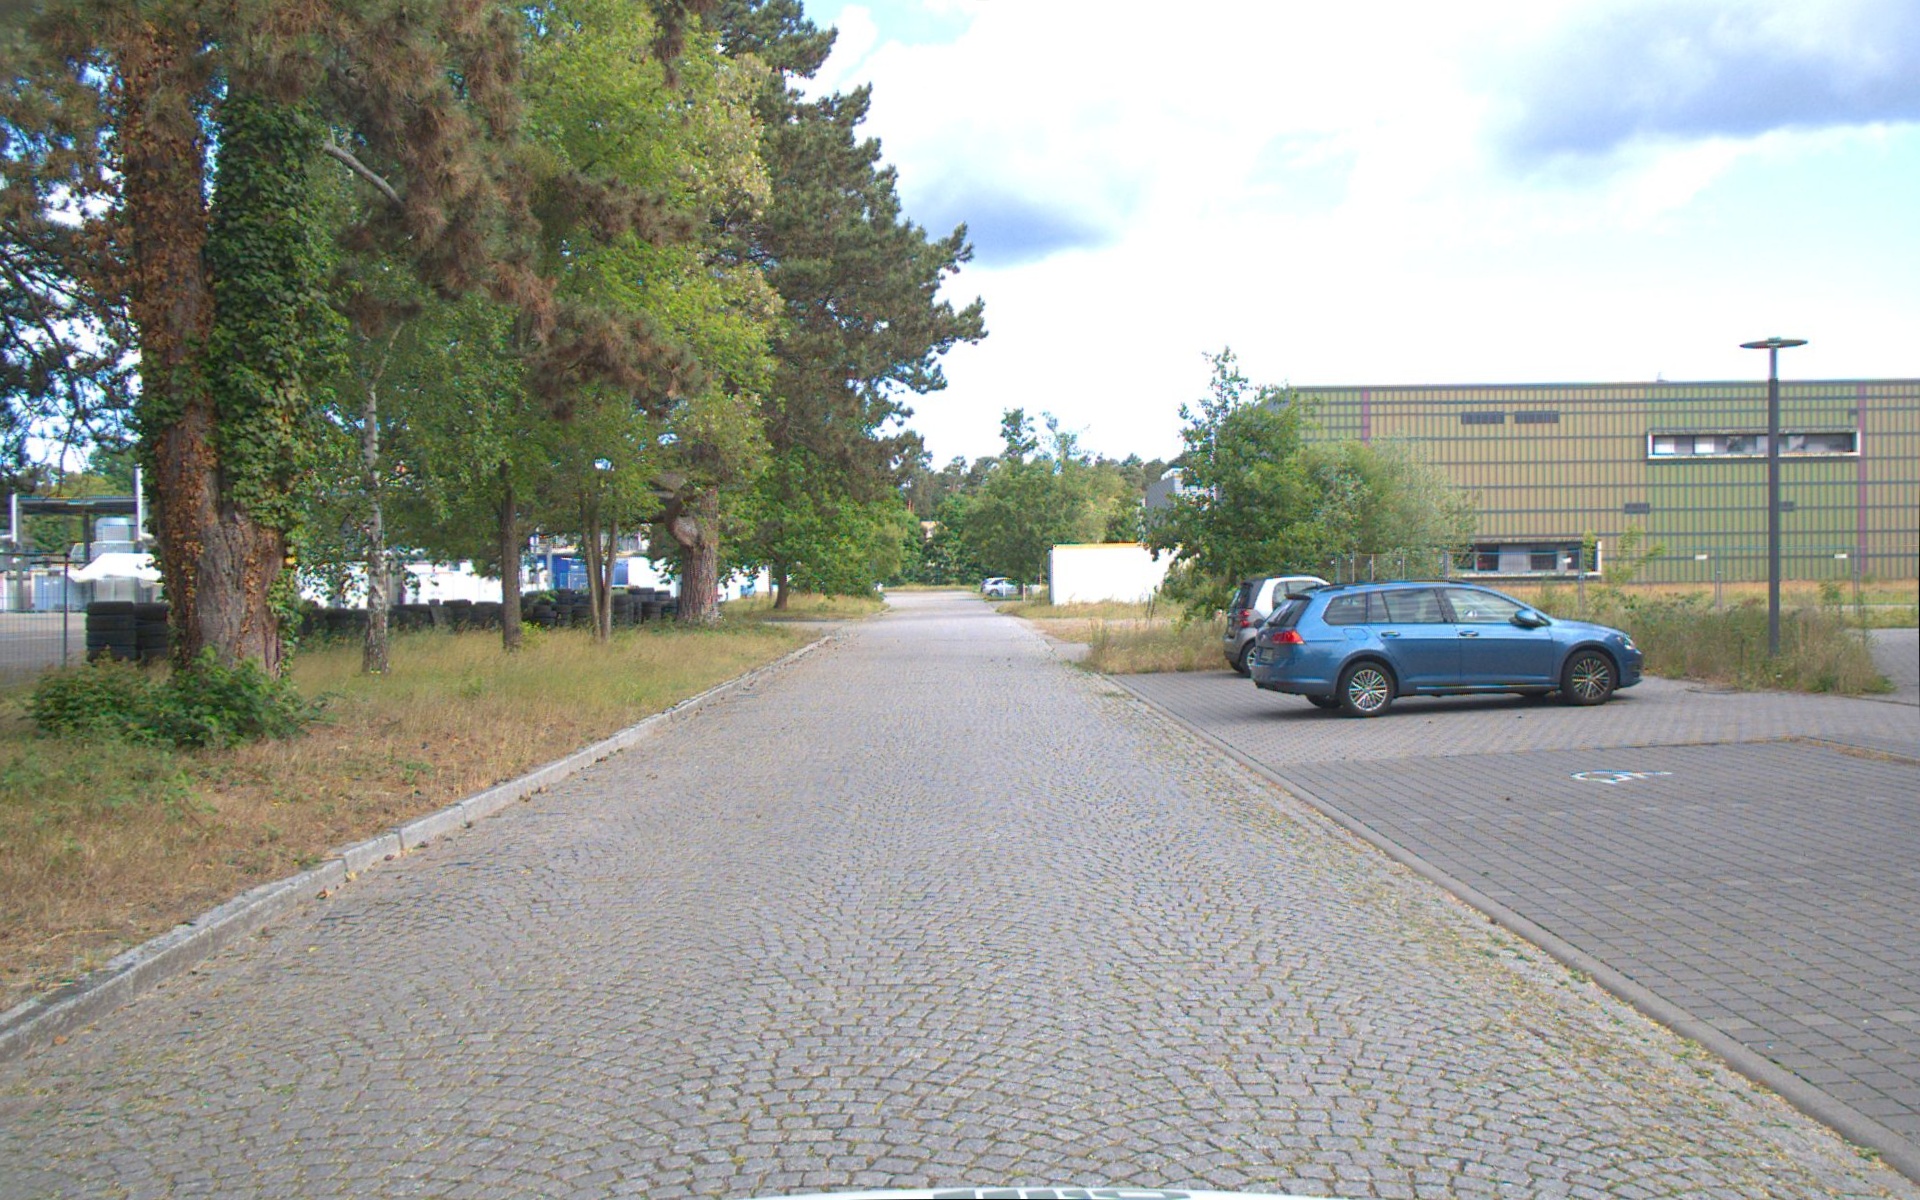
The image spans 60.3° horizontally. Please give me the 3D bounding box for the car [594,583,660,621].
[{"bbox_3d":[-13.663,0.053,68.043,1.591,1.458,4.067,-1,1,5],"label":"car"}]

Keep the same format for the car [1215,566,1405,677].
[{"bbox_3d":[5.605,0.320,26.718,2.654,1.583,1.654,-3,1,0],"label":"car"}]

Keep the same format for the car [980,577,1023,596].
[{"bbox_3d":[3.388,-1.155,136.552,3.451,1.386,1.622,-3,1,0],"label":"car"}]

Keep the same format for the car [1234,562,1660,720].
[{"bbox_3d":[5.620,0.439,19.437,4.402,1.501,1.829,-3,1,-3],"label":"car"}]

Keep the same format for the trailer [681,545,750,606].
[{"bbox_3d":[-15.565,-1.572,106.038,2.571,3.660,10.180,-1,1,2],"label":"trailer"}]

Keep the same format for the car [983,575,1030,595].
[{"bbox_3d":[3.890,-1.307,139.251,3.903,1.473,1.653,-3,1,0],"label":"car"}]
